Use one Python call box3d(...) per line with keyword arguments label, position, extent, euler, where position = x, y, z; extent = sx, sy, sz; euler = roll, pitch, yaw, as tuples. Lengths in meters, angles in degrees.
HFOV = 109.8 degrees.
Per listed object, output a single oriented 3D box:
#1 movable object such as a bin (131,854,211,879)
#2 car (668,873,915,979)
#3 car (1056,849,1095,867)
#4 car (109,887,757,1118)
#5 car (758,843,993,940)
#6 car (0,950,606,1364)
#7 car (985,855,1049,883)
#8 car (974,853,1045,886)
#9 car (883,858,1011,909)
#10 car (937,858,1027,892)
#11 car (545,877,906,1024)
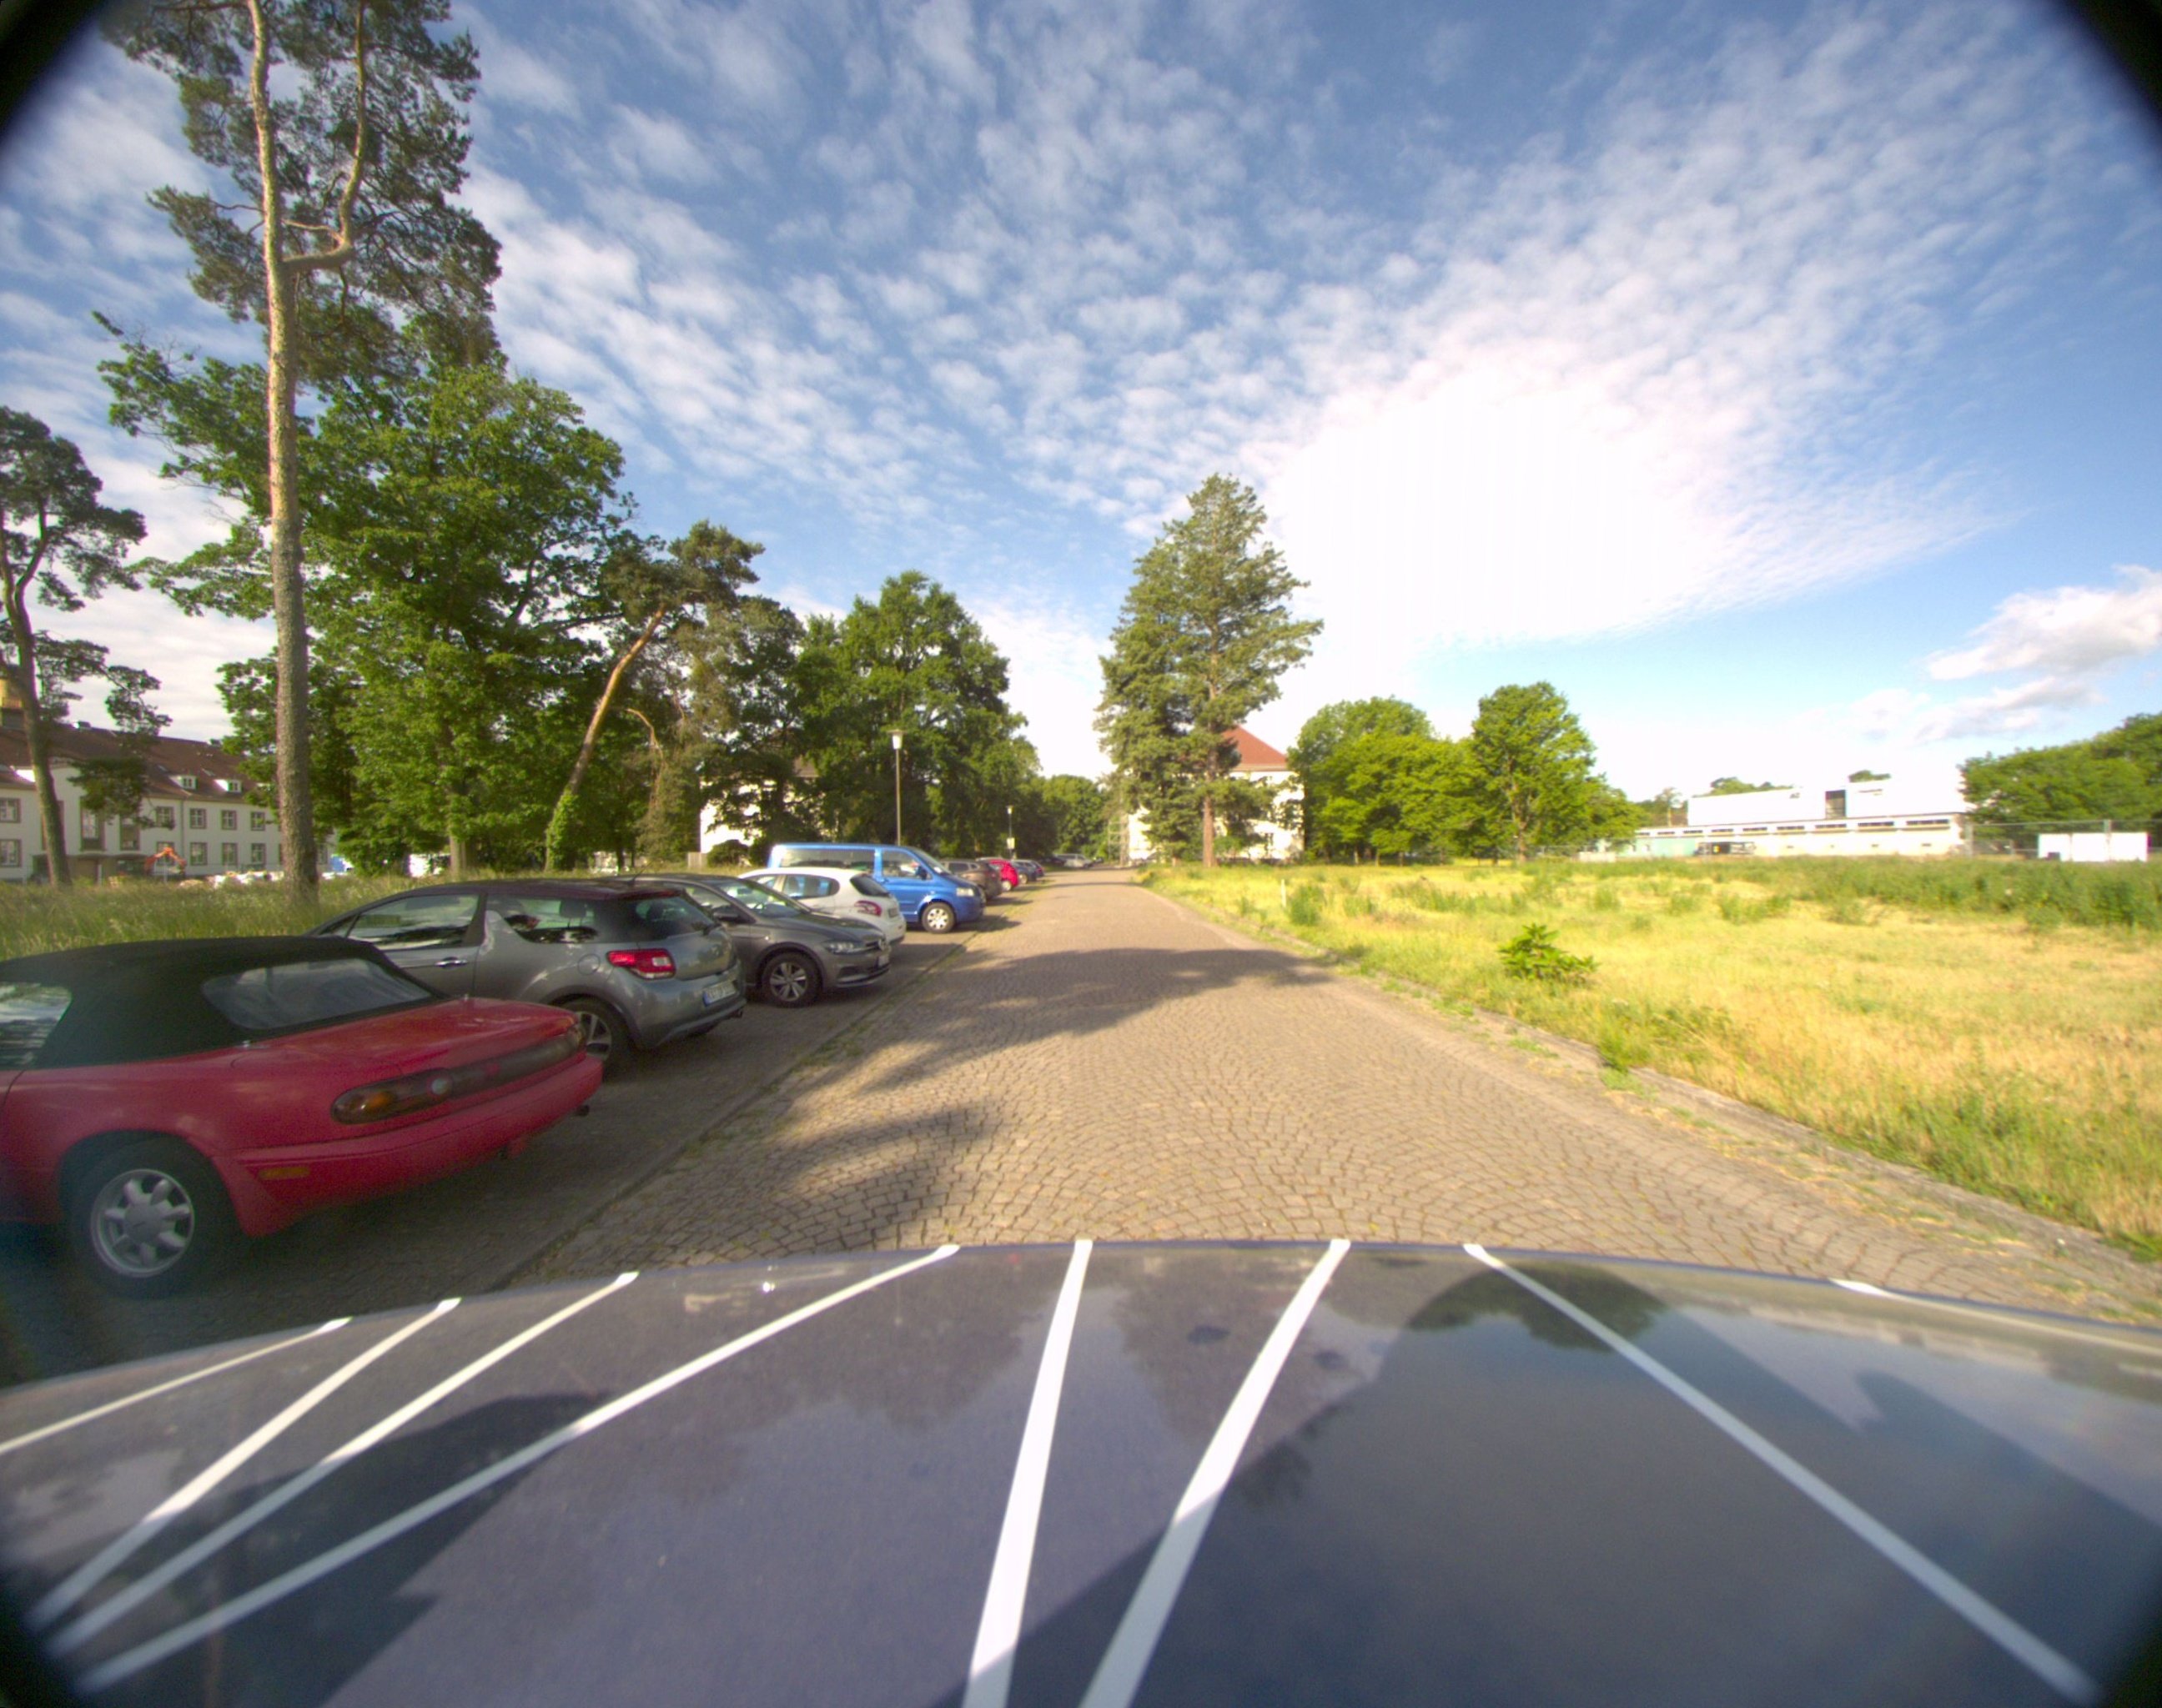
box3d(label="movable object such as a bin", position=(-90.243, 1.215, 75.471), extent=(1.999, 2.309, 4.985), euler=(-1, 0, -3))
box3d(label="car", position=(-4.401, 1.071, 11.836), extent=(3.264, 1.482, 1.449), euler=(-1, 1, 3))
box3d(label="car", position=(-0.659, 0.540, 100.138), extent=(5.068, 2.251, 2.000), euler=(-1, 1, 0))
box3d(label="car", position=(-4.812, 1.065, 6.041), extent=(3.779, 1.482, 1.549), euler=(-1, 0, 0))
box3d(label="car", position=(-4.506, 0.803, 17.223), extent=(4.726, 2.002, 2.000), euler=(-1, 1, 2))
box3d(label="car", position=(-4.239, 1.163, 3.354), extent=(3.357, 1.248, 1.420), euler=(-1, 0, 0))
box3d(label="car", position=(-4.343, 1.019, 51.569), extent=(3.996, 1.605, 1.757), euler=(-4, 1, 5))
box3d(label="car", position=(-4.370, 0.933, 46.709), extent=(3.996, 1.731, 1.757), euler=(-4, 1, 3))
box3d(label="car", position=(-4.555, 1.000, 26.161), extent=(3.996, 1.630, 1.757), euler=(-1, 0, 3))
box3d(label="car", position=(-4.716, 0.997, 36.522), extent=(3.996, 1.509, 1.757), euler=(-1, 0, 3))
box3d(label="car", position=(-4.097, 1.049, 8.982), extent=(3.620, 1.482, 1.509), euler=(-1, 0, 10))
